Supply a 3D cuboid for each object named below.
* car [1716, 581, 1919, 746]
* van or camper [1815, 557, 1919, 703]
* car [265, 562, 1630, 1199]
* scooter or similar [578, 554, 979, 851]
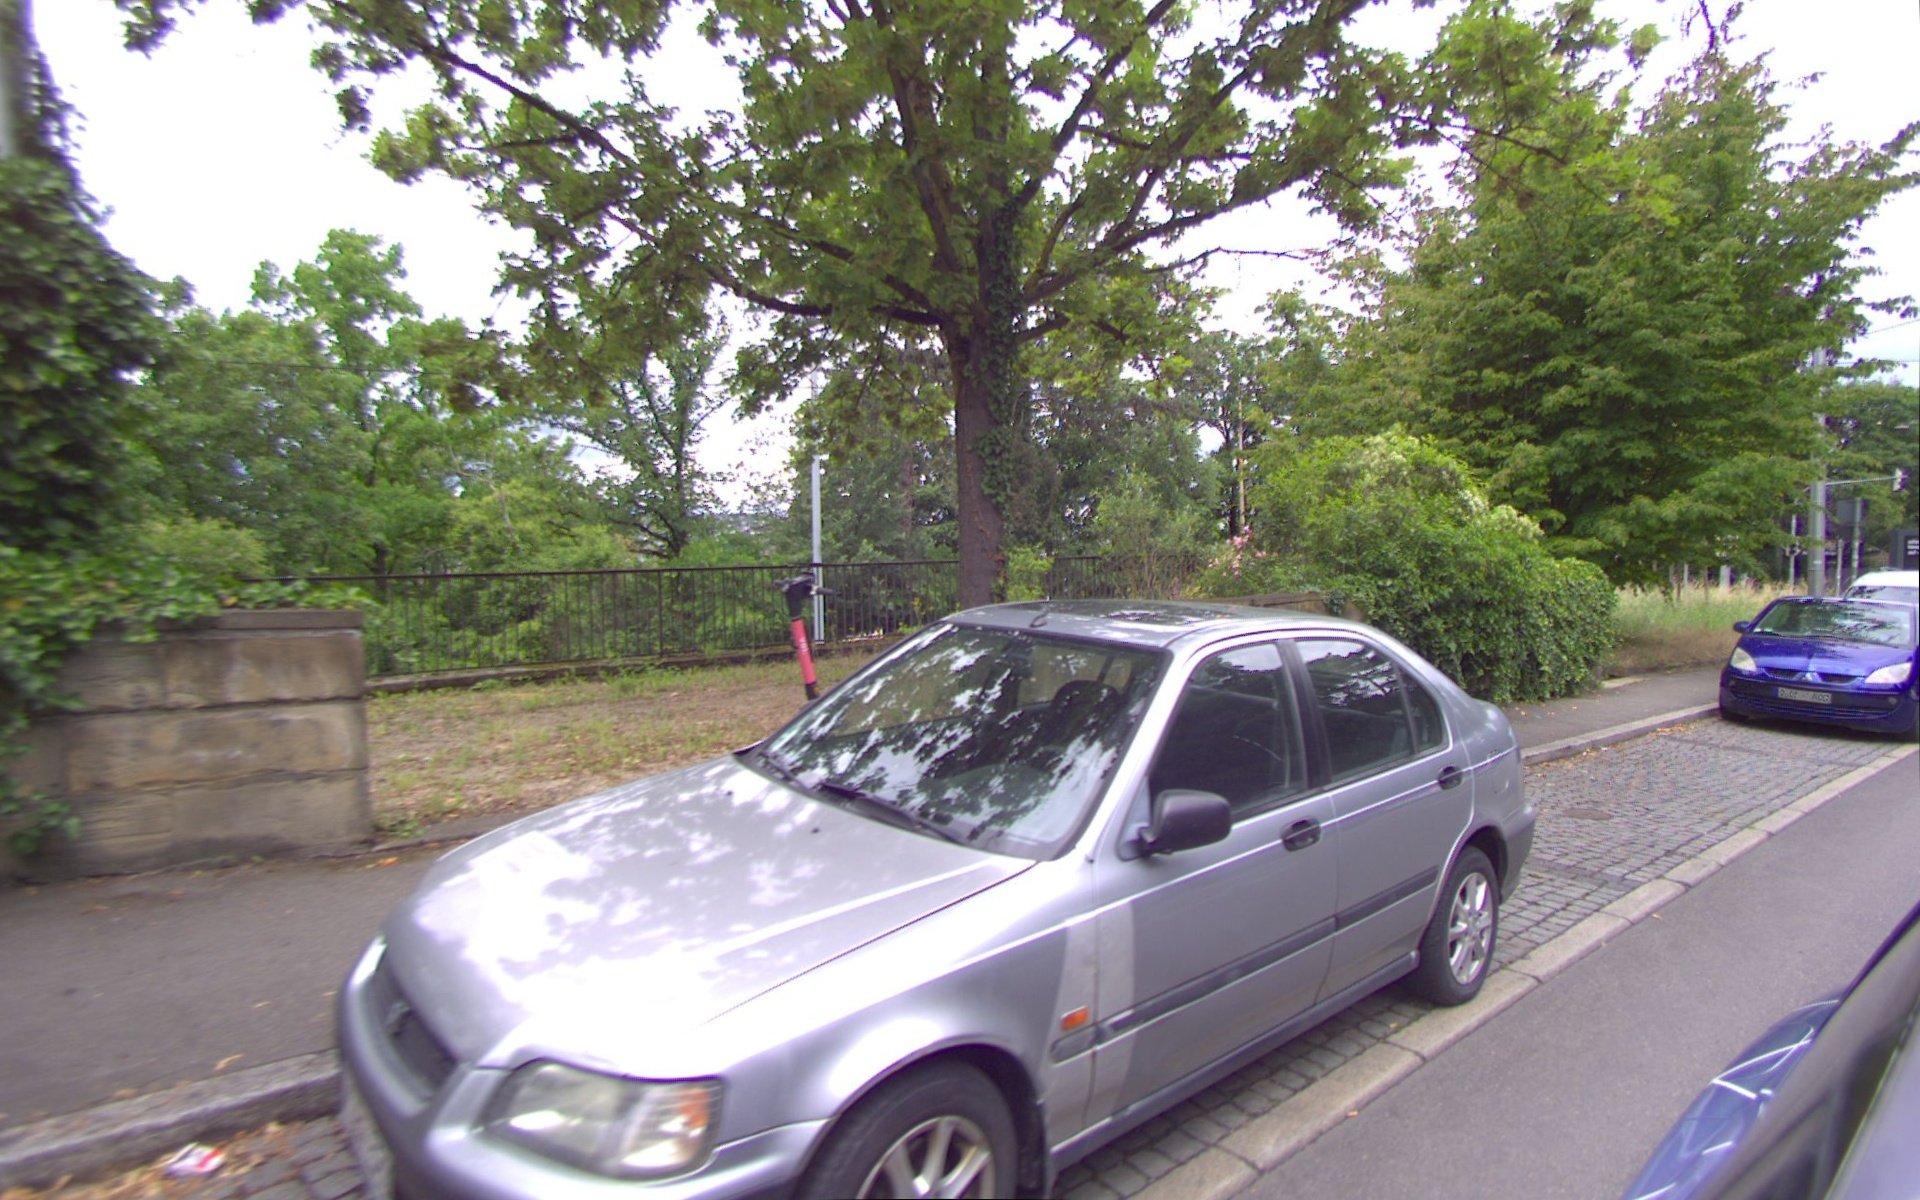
[{"bbox_3d":[10.020,0.565,11.301,3.871,1.477,1.602,-1,3,-39],"label":"car"},{"bbox_3d":[13.809,0.353,14.382,4.165,1.868,1.703,-1,2,-38],"label":"van or camper"},{"bbox_3d":[0.479,0.634,3.384,4.472,1.416,1.774,-1,3,-41],"label":"car"},{"bbox_3d":[-0.866,0.430,5.223,1.964,1.258,0.563,-1,7,-39],"label":"scooter or similar"}]
